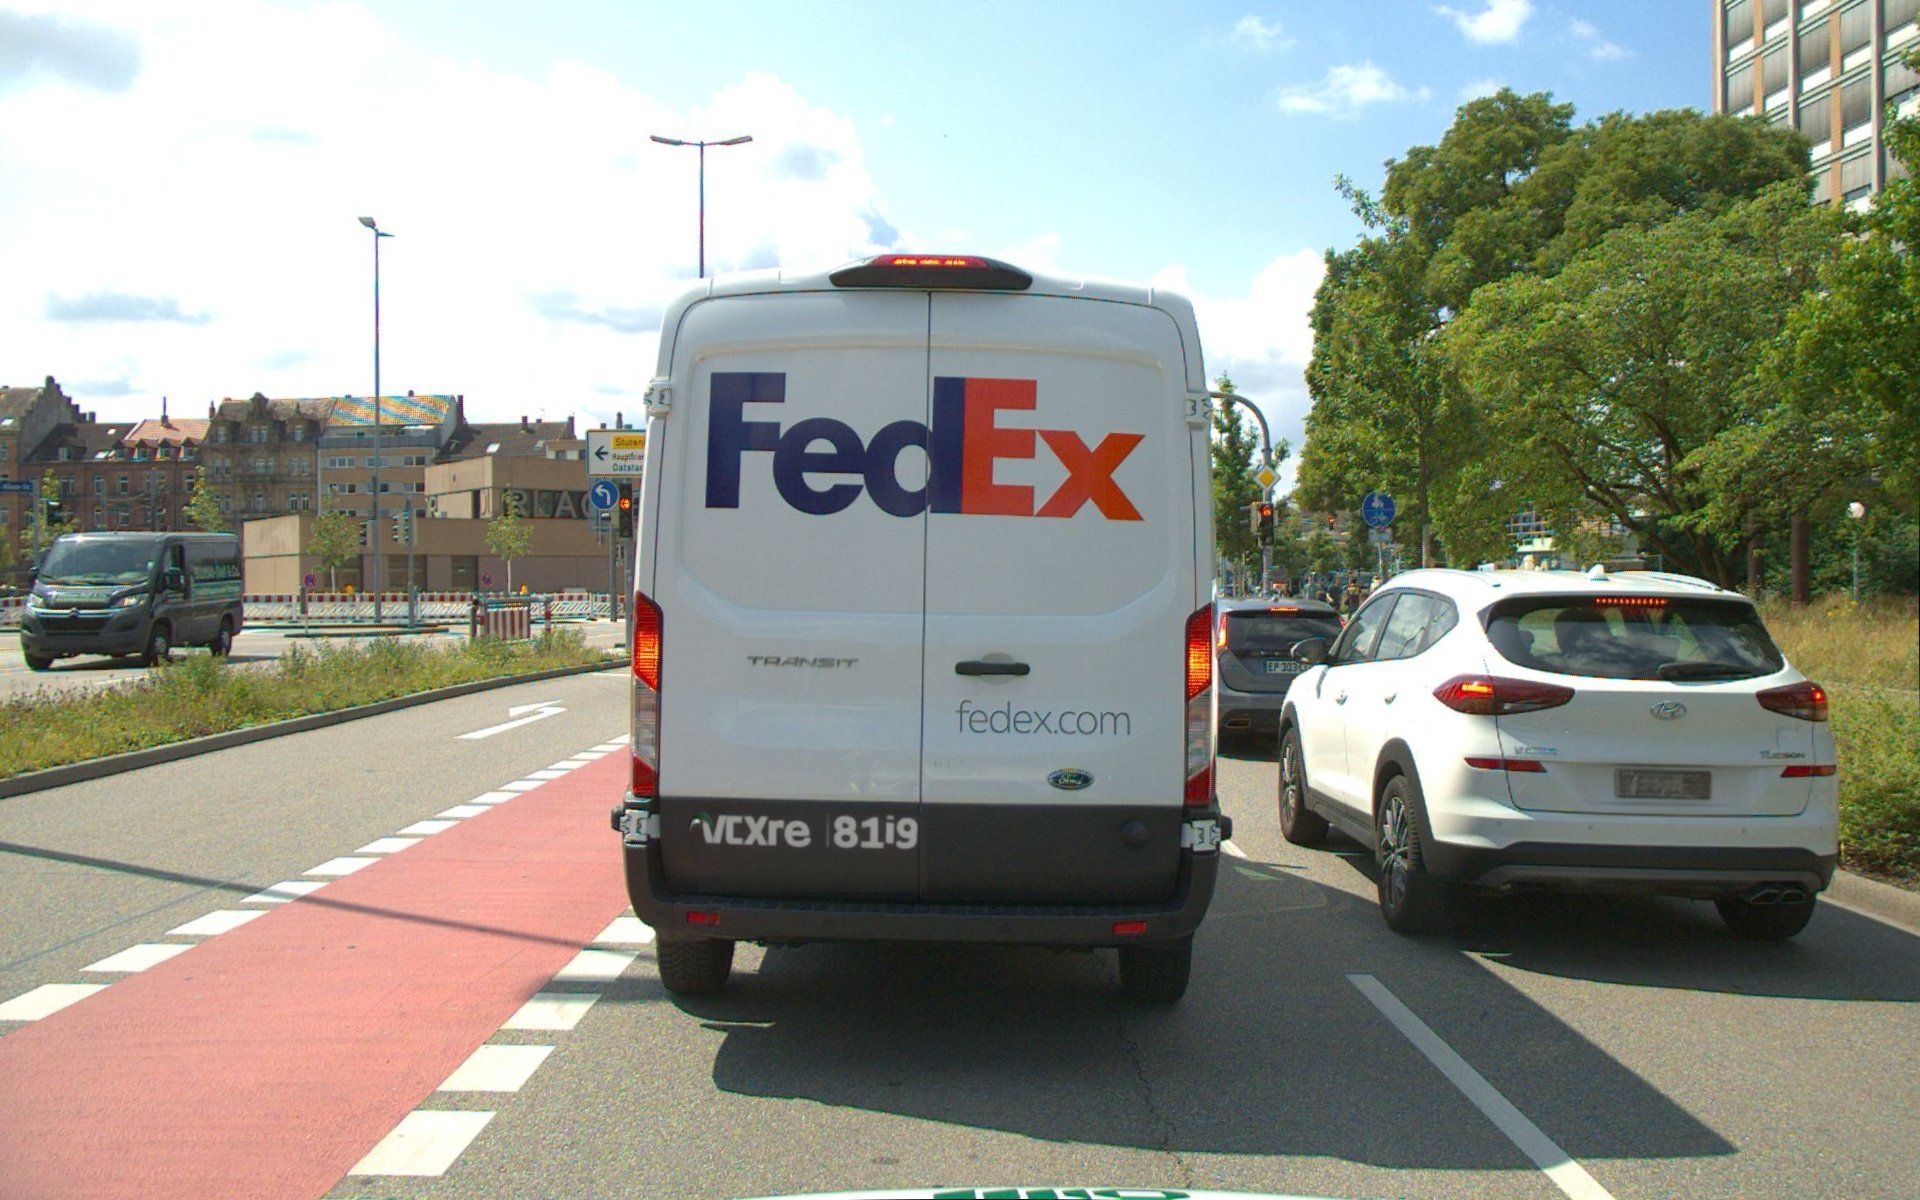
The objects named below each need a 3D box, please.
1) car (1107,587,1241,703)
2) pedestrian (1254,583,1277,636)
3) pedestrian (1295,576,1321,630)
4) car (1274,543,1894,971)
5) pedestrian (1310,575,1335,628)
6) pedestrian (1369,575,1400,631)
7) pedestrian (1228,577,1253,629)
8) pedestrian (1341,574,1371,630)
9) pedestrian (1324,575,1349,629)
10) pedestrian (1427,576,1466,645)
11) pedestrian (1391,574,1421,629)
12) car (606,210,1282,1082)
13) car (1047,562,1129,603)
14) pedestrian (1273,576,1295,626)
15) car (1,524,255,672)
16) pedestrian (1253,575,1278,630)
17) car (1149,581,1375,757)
[{"bbox_3d":[2.939,0.571,23.267,1.468,1.489,3.474,0,1,1],"label":"car"},{"bbox_3d":[10.933,0.346,59.190,0.742,1.882,0.817,0,0,14],"label":"pedestrian"},{"bbox_3d":[12.277,0.113,58.412,0.743,1.882,0.816,0,0,1],"label":"pedestrian"},{"bbox_3d":[2.878,0.606,8.617,1.777,1.708,3.974,0,1,1],"label":"car"},{"bbox_3d":[13.041,0.036,59.548,0.743,1.882,0.816,0,0,3],"label":"pedestrian"},{"bbox_3d":[14.435,0.095,56.253,0.745,1.882,0.814,-1,0,-11],"label":"pedestrian"},{"bbox_3d":[10.188,0.111,60.043,0.796,1.882,0.761,0,0,2],"label":"pedestrian"},{"bbox_3d":[13.552,0.059,56.655,0.744,1.882,0.815,-1,0,-7],"label":"pedestrian"},{"bbox_3d":[12.726,0.064,55.952,0.742,1.820,0.817,0,0,7],"label":"pedestrian"},{"bbox_3d":[12.070,0.255,41.062,0.743,1.684,0.816,0,0,3],"label":"pedestrian"},{"bbox_3d":[15.224,0.048,56.472,0.745,1.882,0.814,0,0,-9],"label":"pedestrian"},{"bbox_3d":[-0.018,0.117,7.218,2.030,2.626,4.428,0,1,1],"label":"car"},{"bbox_3d":[9.233,-1.220,118.710,2.448,2.765,7.052,1,0,38],"label":"car"},{"bbox_3d":[12.254,0.034,62.585,0.742,1.882,0.817,0,0,5],"label":"pedestrian"},{"bbox_3d":[-13.990,-0.057,28.208,2.106,2.213,5.013,-2,1,-6],"label":"car"},{"bbox_3d":[10.493,0.077,56.827,0.743,1.882,0.816,0,0,18],"label":"pedestrian"},{"bbox_3d":[2.948,0.606,16.817,1.656,1.576,3.721,0,1,1],"label":"car"}]
